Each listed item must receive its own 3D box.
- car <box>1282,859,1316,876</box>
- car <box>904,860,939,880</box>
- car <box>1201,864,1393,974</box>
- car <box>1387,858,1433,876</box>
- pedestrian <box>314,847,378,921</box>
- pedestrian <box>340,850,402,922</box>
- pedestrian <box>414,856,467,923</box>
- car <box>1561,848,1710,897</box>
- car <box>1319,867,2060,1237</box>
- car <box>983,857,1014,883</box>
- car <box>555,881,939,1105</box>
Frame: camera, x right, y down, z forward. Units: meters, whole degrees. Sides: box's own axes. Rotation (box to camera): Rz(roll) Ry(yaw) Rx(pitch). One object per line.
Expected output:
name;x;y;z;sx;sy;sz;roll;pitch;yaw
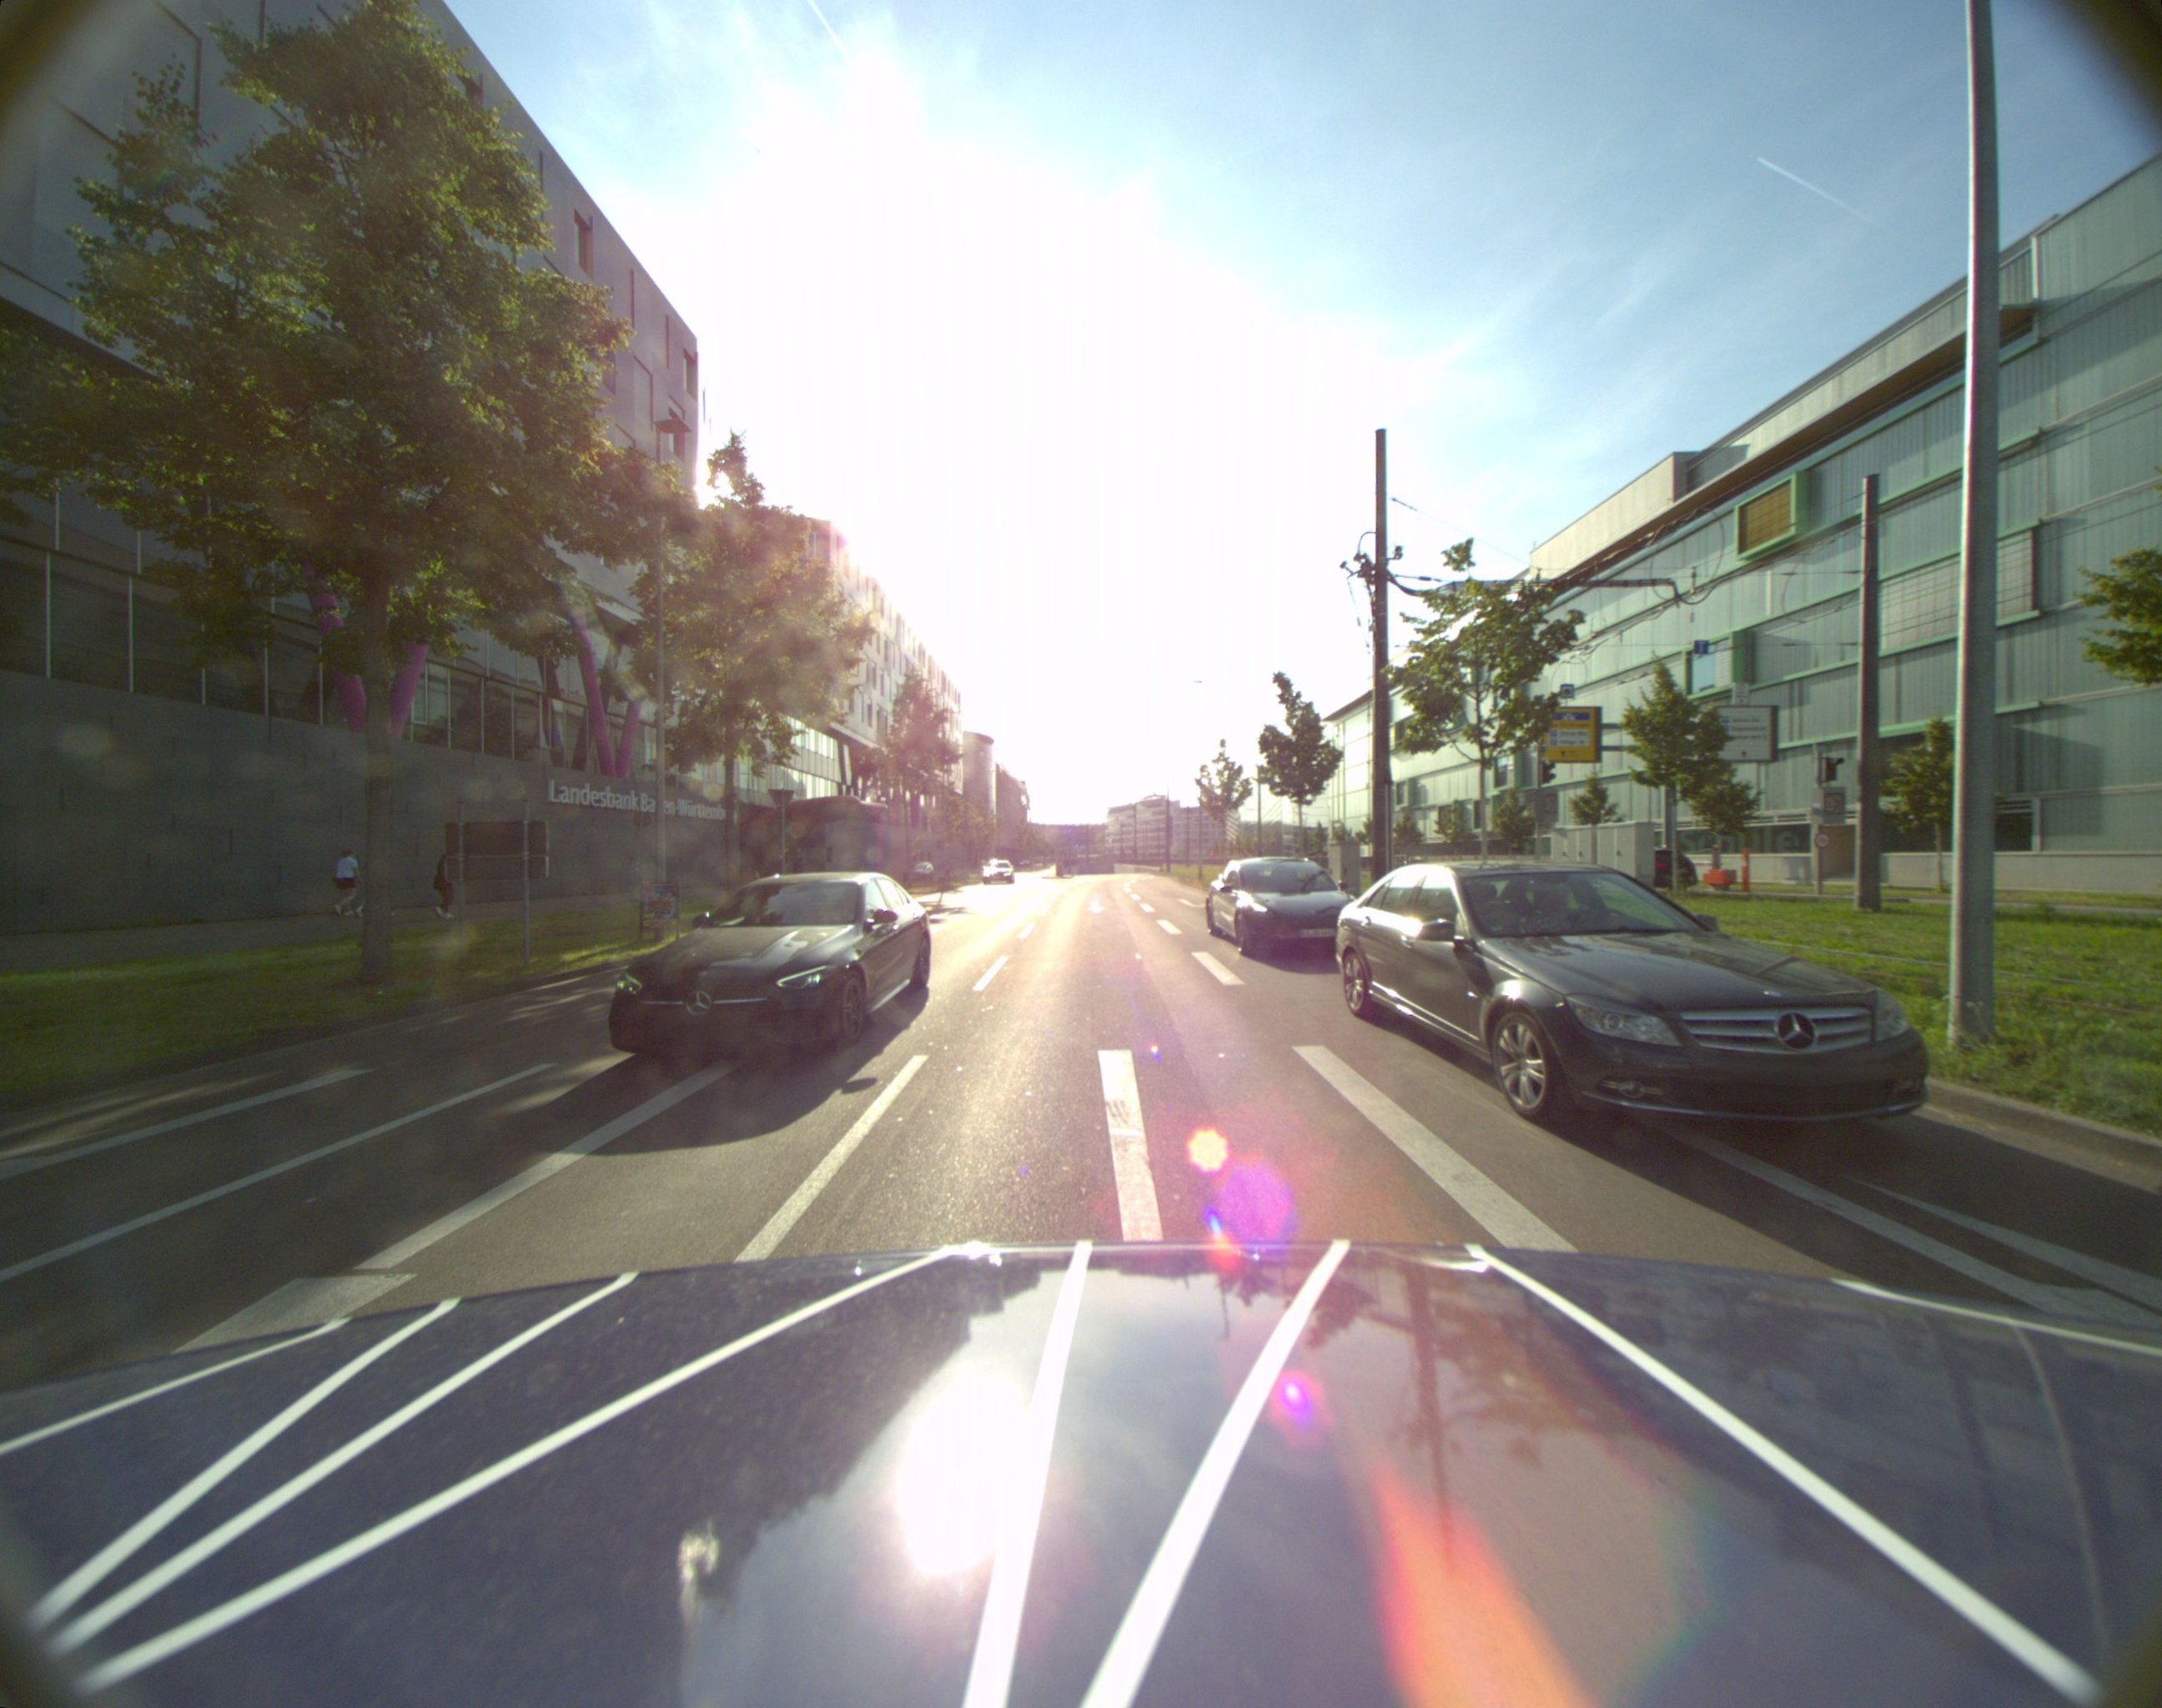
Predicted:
car;20.463;1.253;71.464;1.999;1.519;4.312;0;0;0
car;-11.593;1.159;55.587;1.696;1.382;4.199;0;-1;-1
car;3.237;0.896;12.353;1.894;1.377;4.335;-2;0;1
car;27.609;1.069;63.948;1.911;1.519;4.441;0;0;-1
pedestrian;-18.703;0.742;19.344;0.770;1.814;0.853;2;0;0
pedestrian;-18.032;0.798;19.320;0.756;1.783;0.844;2;0;0
pedestrian;-16.065;0.878;19.069;0.695;1.629;0.736;1;0;0
car;21.018;0.665;29.120;1.999;1.674;4.994;0;0;-1
car;3.256;0.879;5.397;1.791;1.470;4.354;-2;0;1
car;-5.351;1.013;49.066;1.895;1.418;4.469;-2;1;-7
car;-2.809;1.070;7.703;1.843;1.441;4.556;-2;-1;0
